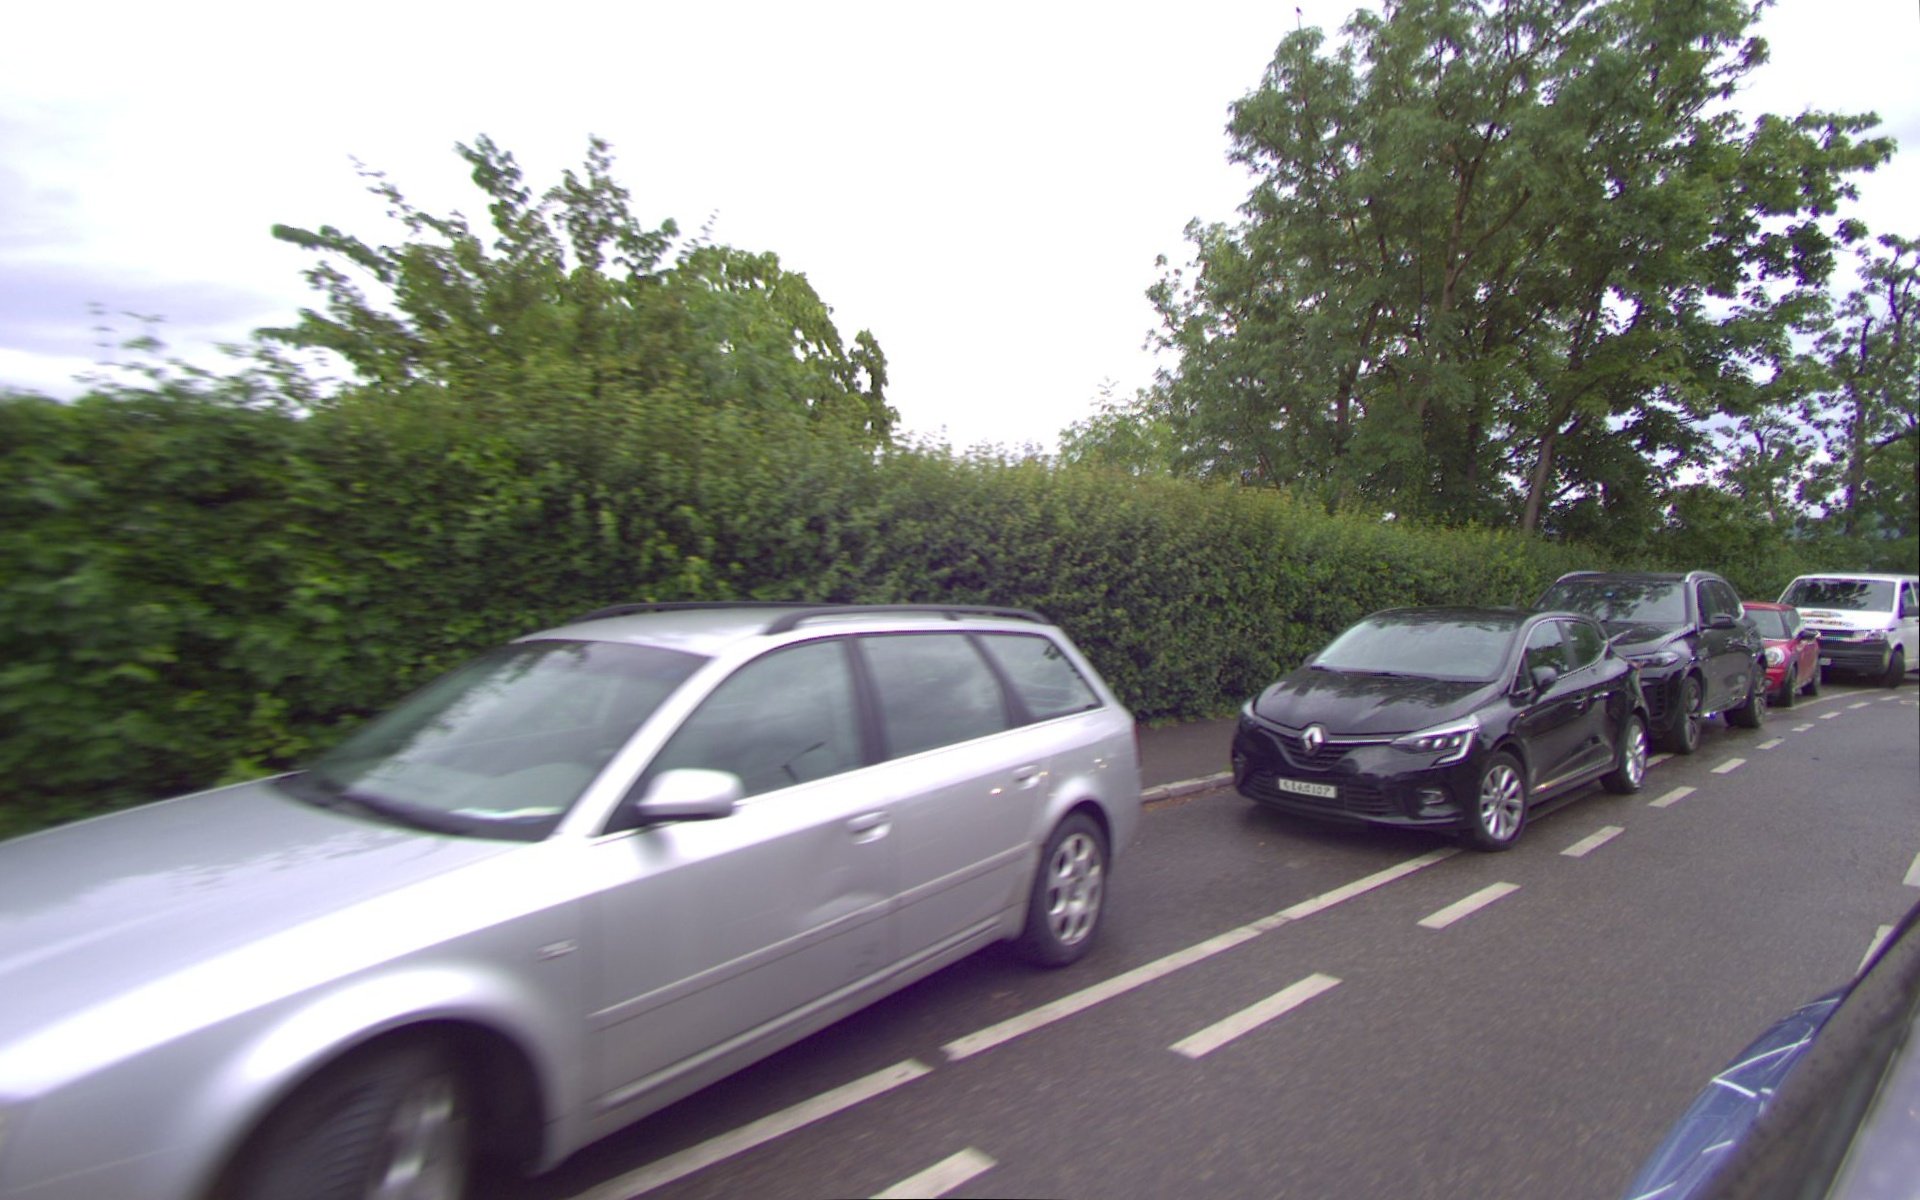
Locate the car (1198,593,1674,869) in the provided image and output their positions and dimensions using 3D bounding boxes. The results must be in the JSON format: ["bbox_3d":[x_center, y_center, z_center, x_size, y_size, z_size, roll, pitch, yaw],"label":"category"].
[{"bbox_3d":[3.623,0.698,7.398,3.913,1.440,1.692,-1,1,-40],"label":"car"}]

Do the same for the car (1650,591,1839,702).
[{"bbox_3d":[11.850,0.616,15.216,3.679,1.431,1.673,0,1,-43],"label":"car"}]

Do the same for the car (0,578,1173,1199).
[{"bbox_3d":[-0.992,0.697,3.543,1.793,1.458,4.584,0,0,35],"label":"car"}]

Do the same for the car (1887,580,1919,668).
[{"bbox_3d":[21.876,0.540,21.352,4.287,1.793,1.869,1,0,-25],"label":"car"}]

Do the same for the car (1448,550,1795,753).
[{"bbox_3d":[7.575,0.456,11.379,4.813,1.805,2.030,1,0,-41],"label":"car"}]

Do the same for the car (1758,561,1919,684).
[{"bbox_3d":[16.732,0.356,18.586,4.715,1.972,1.867,1,2,-34],"label":"car"}]
